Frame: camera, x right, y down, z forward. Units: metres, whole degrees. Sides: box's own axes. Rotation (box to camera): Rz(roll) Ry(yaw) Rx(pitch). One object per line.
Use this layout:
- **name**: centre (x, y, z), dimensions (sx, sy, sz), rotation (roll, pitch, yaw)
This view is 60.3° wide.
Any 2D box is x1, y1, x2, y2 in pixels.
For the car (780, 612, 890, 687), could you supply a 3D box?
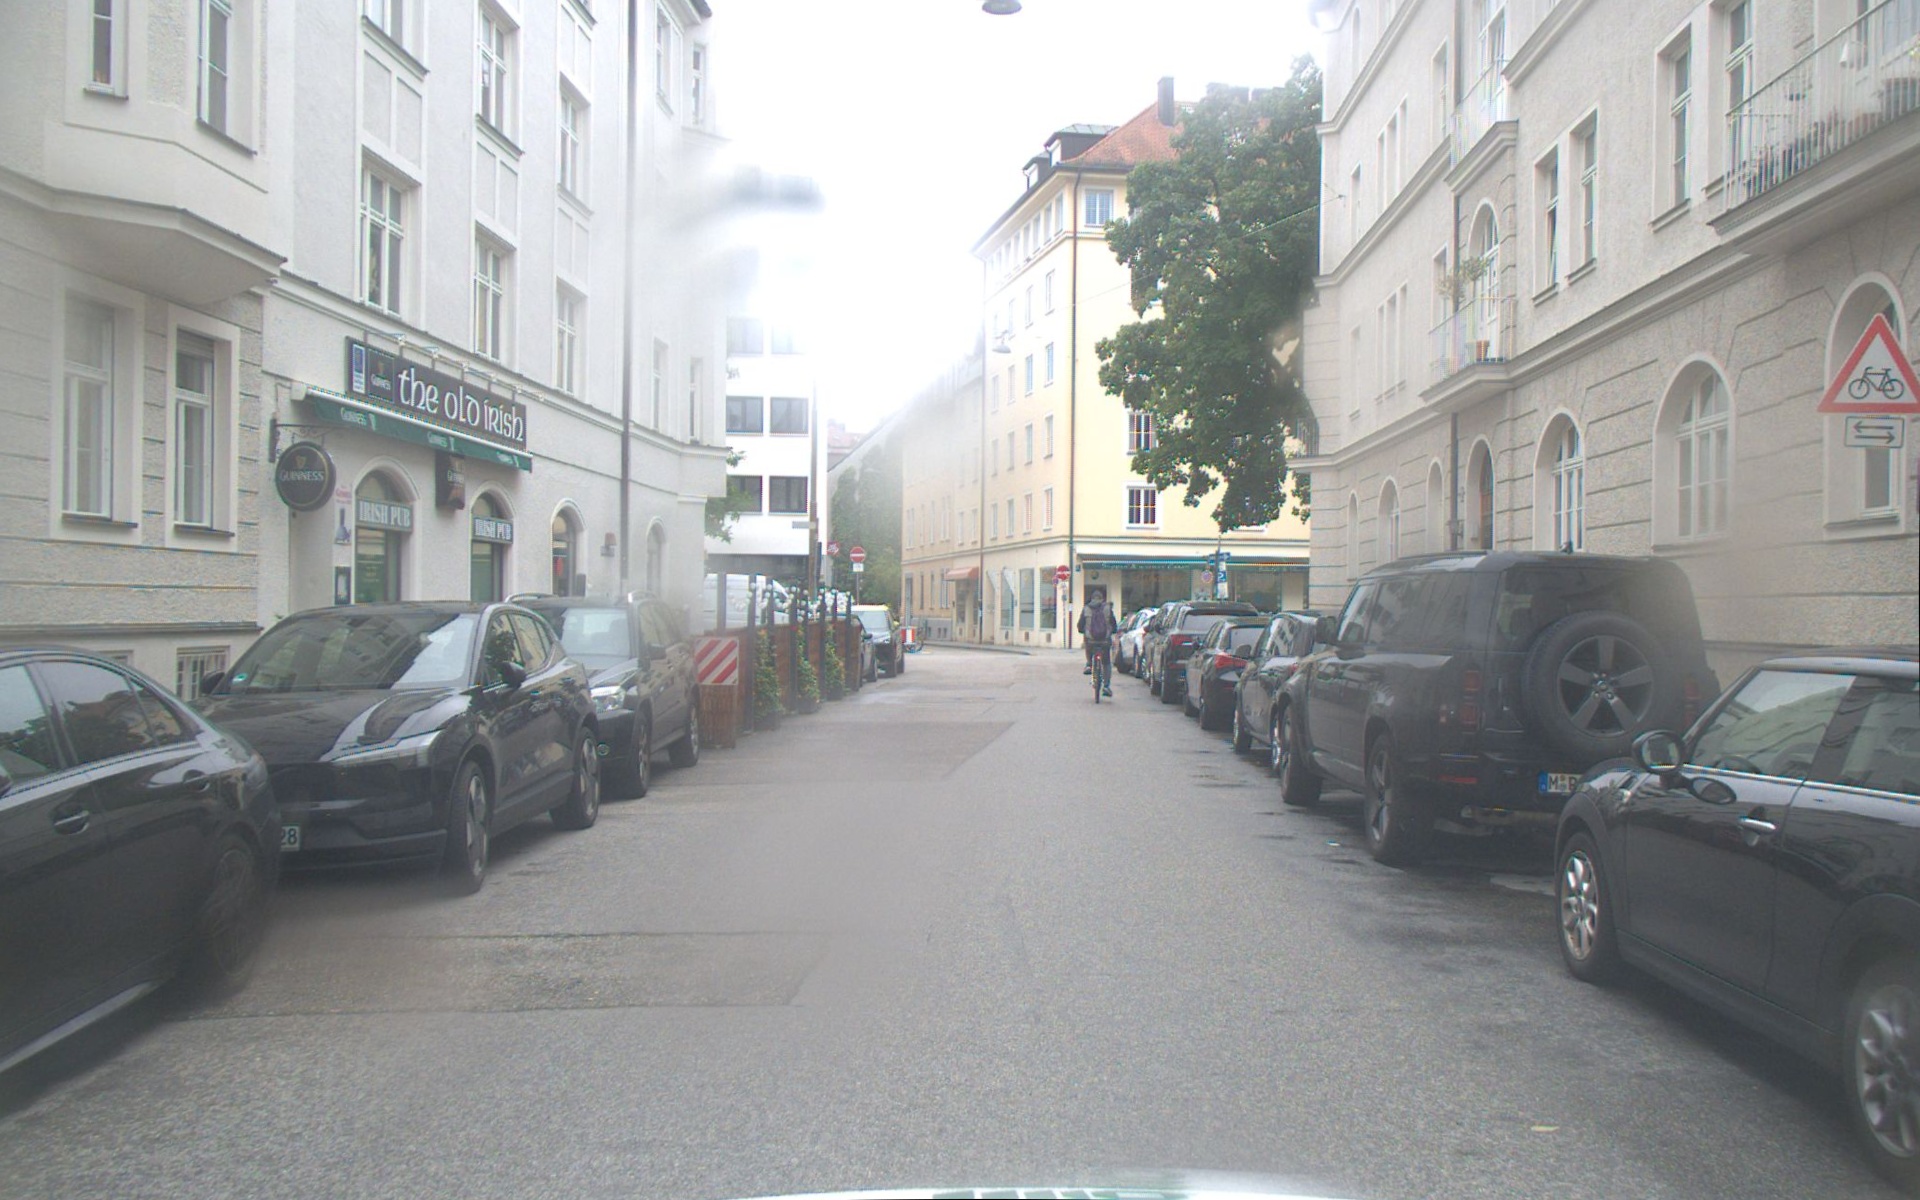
- **car**: centre (-2.517, 0.978, 34.142), dimensions (1.671, 1.414, 4.002), rotation (-1, -1, 4)

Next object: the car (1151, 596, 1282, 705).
- **car**: centre (4.264, 0.792, 28.051), dimensions (1.740, 1.664, 4.377), rotation (1, 0, 3)

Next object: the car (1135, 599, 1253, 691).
- **car**: centre (4.648, 0.855, 33.422), dimensions (1.753, 1.743, 4.426), rotation (0, 0, 0)

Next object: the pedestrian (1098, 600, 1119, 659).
- **pedestrian**: centre (4.255, 0.834, 47.440), dimensions (0.598, 1.690, 0.551), rotation (0, 0, 5)

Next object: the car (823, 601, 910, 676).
- **car**: centre (-2.146, 0.878, 38.784), dimensions (1.642, 1.625, 3.946), rotation (-2, -1, 2)

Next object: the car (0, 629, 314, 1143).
- **car**: centre (-3.632, 0.848, 5.042), dimensions (1.774, 1.409, 4.440), rotation (-1, 0, -3)

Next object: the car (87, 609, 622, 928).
- **car**: centre (-3.327, 0.819, 10.018), dimensions (1.706, 1.513, 4.180), rotation (0, 0, 0)

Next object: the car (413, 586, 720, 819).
- **car**: centre (-3.323, 0.779, 14.819), dimensions (1.710, 1.702, 4.275), rotation (-3, 0, -1)

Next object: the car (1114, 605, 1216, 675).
- **car**: centre (4.717, 0.895, 38.497), dimensions (1.715, 1.522, 3.908), rotation (1, 0, -2)

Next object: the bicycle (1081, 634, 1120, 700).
- **bicycle**: centre (2.278, 1.068, 26.930), dimensions (0.626, 1.022, 1.575), rotation (0, 0, 4)

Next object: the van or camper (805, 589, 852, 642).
- **van or camper**: centre (-6.605, 0.755, 82.739), dimensions (1.957, 2.584, 4.749), rotation (0, 0, -10)

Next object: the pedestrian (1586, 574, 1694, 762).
- **pedestrian**: centre (6.368, 0.622, 15.513), dimensions (0.666, 1.703, 0.654), rotation (-2, 0, -2)

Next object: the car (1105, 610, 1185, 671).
- **car**: centre (4.750, 1.007, 43.008), dimensions (1.635, 1.460, 4.213), rotation (1, 0, 0)

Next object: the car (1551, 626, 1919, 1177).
- **car**: centre (3.409, 0.846, 5.587), dimensions (1.629, 1.420, 3.583), rotation (2, 0, 2)

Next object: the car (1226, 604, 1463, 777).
- **car**: centre (3.822, 0.836, 17.019), dimensions (1.621, 1.552, 3.637), rotation (1, 0, 1)

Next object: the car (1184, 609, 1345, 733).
- **car**: centre (4.040, 0.890, 22.517), dimensions (1.671, 1.496, 4.203), rotation (0, 0, 4)

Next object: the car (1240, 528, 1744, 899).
- **car**: centre (3.269, 0.622, 11.269), dimensions (1.872, 1.918, 4.714), rotation (2, 0, 0)

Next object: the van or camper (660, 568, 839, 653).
- **van or camper**: centre (-6.954, 0.365, 54.863), dimensions (5.793, 2.724, 1.870), rotation (0, -2, -8)

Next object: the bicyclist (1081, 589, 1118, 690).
- **bicyclist**: centre (2.279, 0.635, 26.976), dimensions (0.593, 1.635, 0.758), rotation (0, 0, 4)
